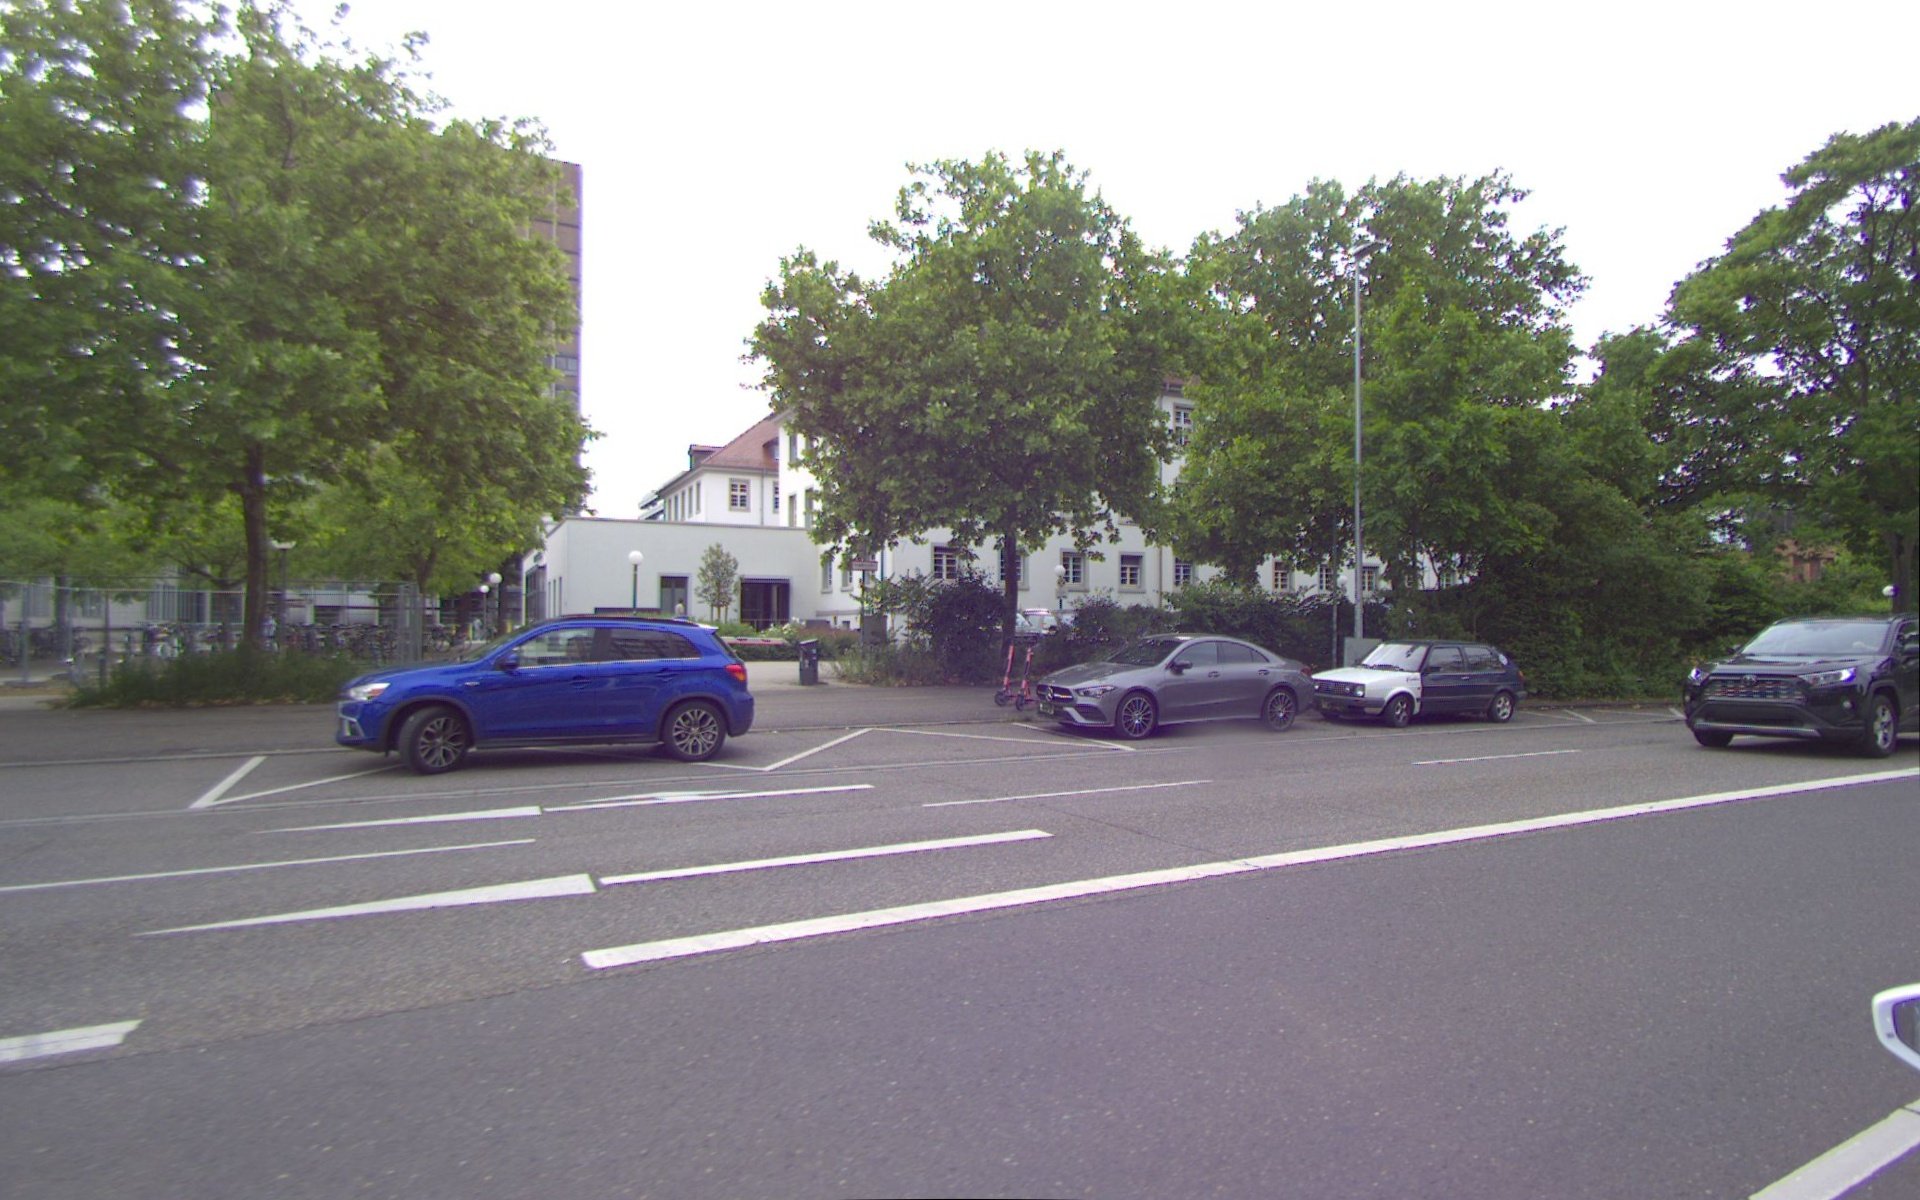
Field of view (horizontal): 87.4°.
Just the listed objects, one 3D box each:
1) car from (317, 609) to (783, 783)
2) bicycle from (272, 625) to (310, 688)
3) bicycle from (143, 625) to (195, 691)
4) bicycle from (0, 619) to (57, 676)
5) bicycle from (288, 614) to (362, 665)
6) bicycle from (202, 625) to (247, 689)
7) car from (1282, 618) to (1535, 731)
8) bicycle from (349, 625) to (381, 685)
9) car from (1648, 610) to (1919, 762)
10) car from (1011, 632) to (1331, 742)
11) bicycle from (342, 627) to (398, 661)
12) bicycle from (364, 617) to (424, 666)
[{"bbox_3d":[-4.469,0.949,11.391,4.532,1.629,1.852,1,0,-26],"label":"car"},{"bbox_3d":[-18.137,1.506,27.264,0.713,1.615,2.387,1,-2,-30],"label":"bicycle"},{"bbox_3d":[-20.460,1.469,26.012,0.713,1.615,2.387,1,-2,-30],"label":"bicycle"},{"bbox_3d":[-27.033,1.336,28.419,0.906,1.579,2.663,0,-2,-10],"label":"bicycle"},{"bbox_3d":[-20.713,1.289,32.844,0.906,1.579,3.084,0,-2,-10],"label":"bicycle"},{"bbox_3d":[-19.512,1.484,26.684,0.713,1.615,2.387,1,-2,-30],"label":"bicycle"},{"bbox_3d":[7.773,1.200,17.386,3.949,1.712,1.986,1,0,-28],"label":"car"},{"bbox_3d":[-16.820,1.528,28.407,0.713,1.615,2.387,1,-2,-30],"label":"bicycle"},{"bbox_3d":[10.845,0.979,12.516,4.459,1.614,1.896,1,-2,-28],"label":"car"},{"bbox_3d":[3.251,1.219,15.296,4.666,1.443,1.867,1,-1,-27],"label":"car"},{"bbox_3d":[-22.110,1.643,37.734,0.906,1.221,2.663,0,-2,-10],"label":"bicycle"},{"bbox_3d":[-19.032,1.383,33.850,0.906,1.579,2.663,0,-2,-10],"label":"bicycle"}]
